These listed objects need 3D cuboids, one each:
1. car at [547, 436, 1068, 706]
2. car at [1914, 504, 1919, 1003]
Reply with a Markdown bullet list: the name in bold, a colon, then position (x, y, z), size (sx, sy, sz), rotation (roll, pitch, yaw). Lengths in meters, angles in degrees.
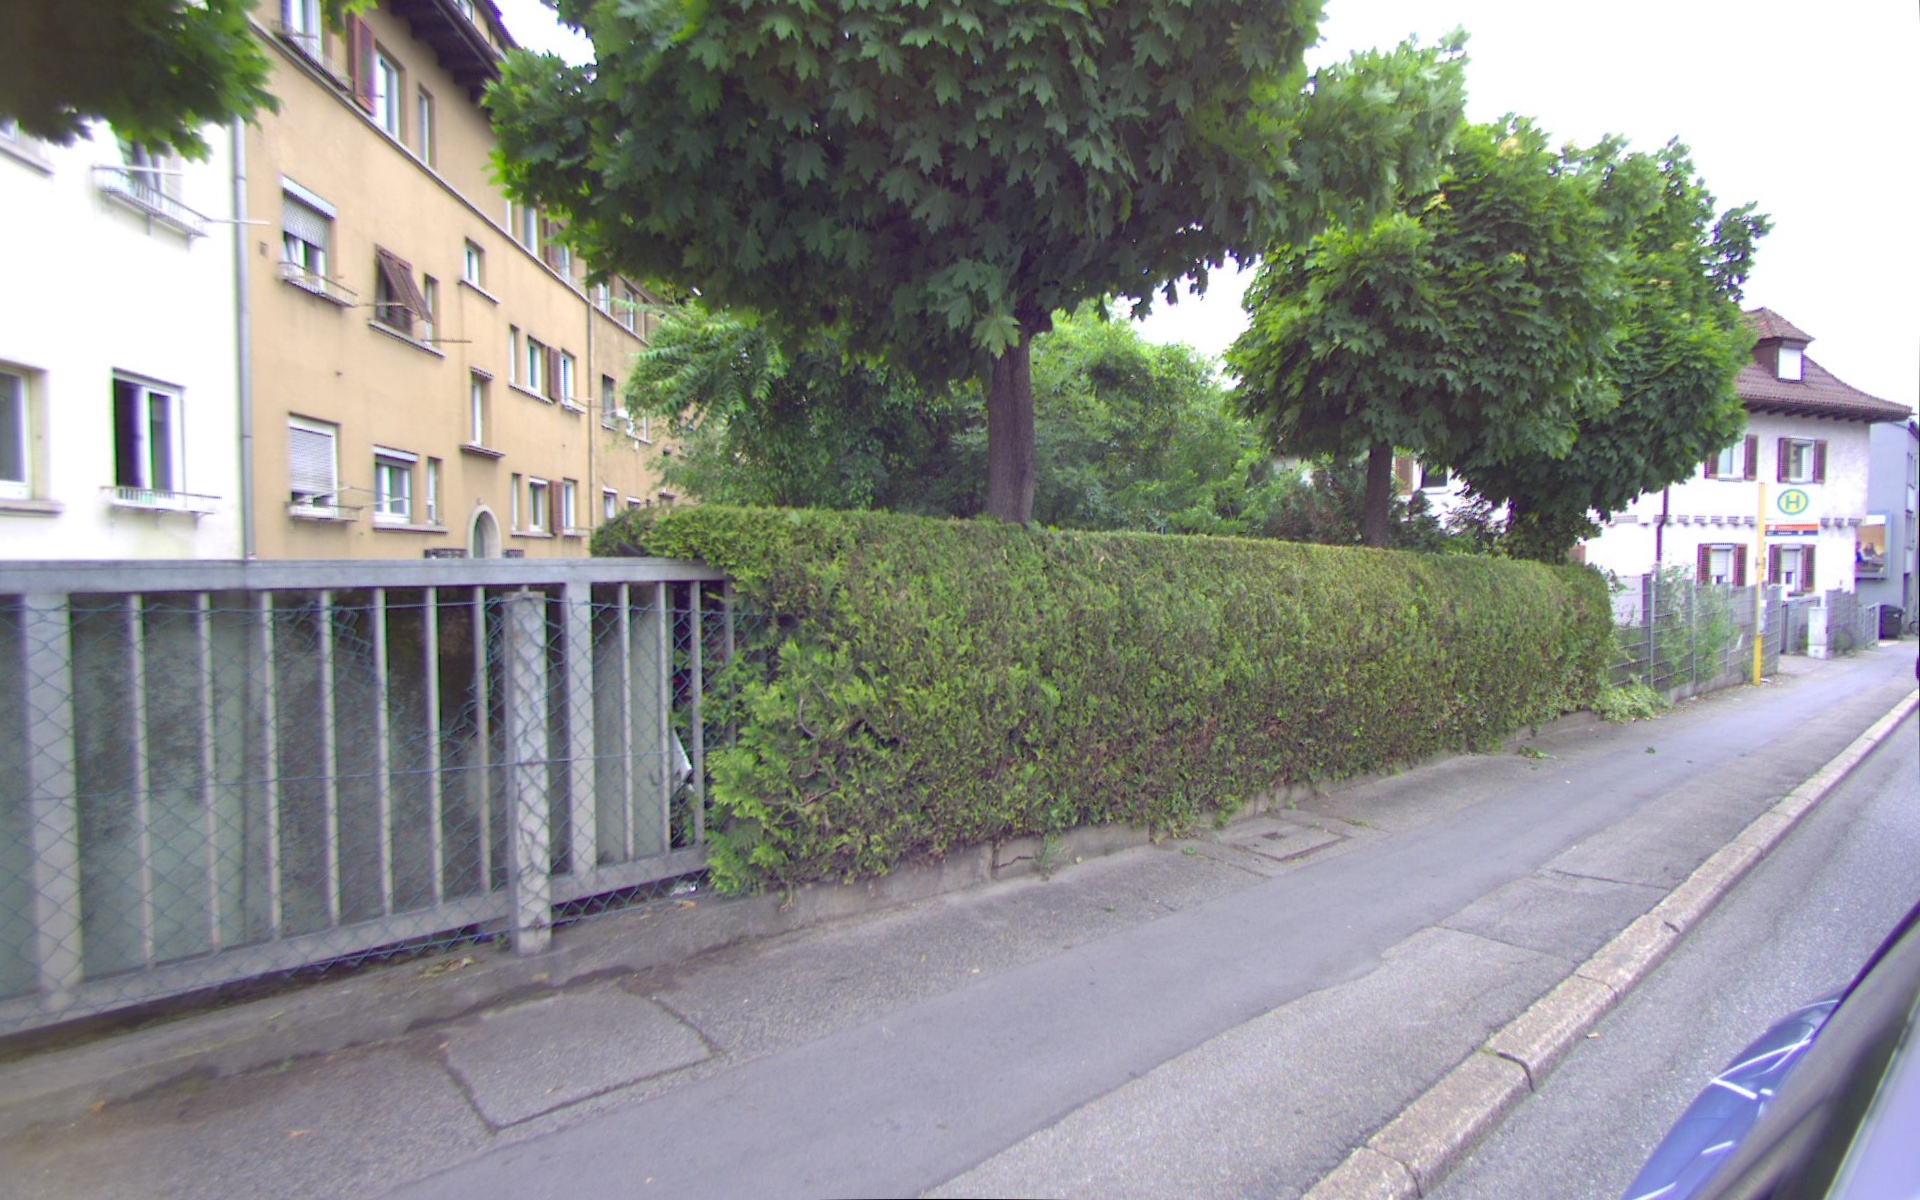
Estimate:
- **car**: position (-0.969, -0.182, 7.333), size (3.381, 1.478, 1.698), rotation (-1, 0, -43)
- **car**: position (5.806, 0.533, 4.471), size (4.629, 1.804, 1.861), rotation (-1, 0, -41)
